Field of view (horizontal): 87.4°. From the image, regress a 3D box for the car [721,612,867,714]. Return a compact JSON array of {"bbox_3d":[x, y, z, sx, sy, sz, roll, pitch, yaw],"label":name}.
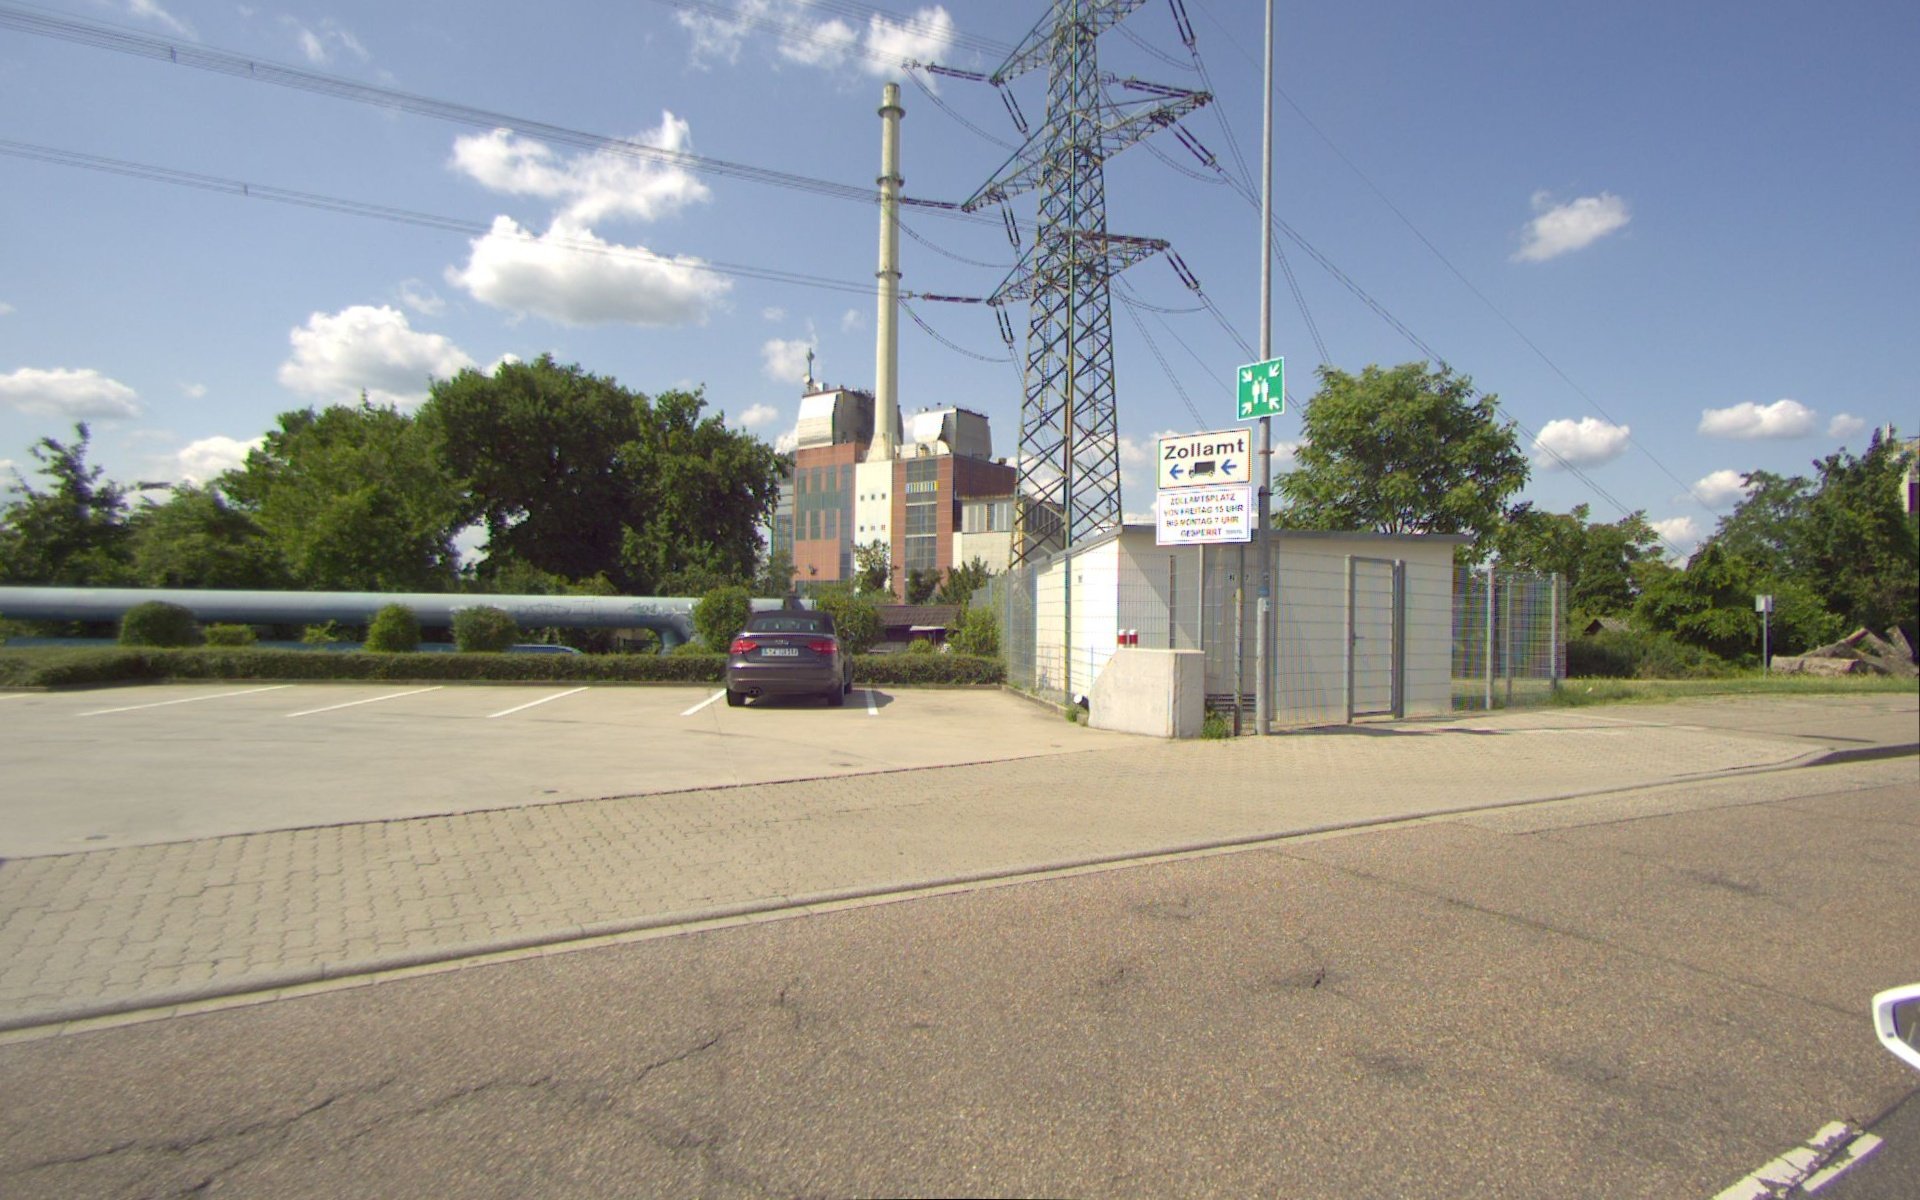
[{"bbox_3d":[-2.483,0.907,15.946,1.768,1.396,3.999,1,-1,-2],"label":"car"}]
